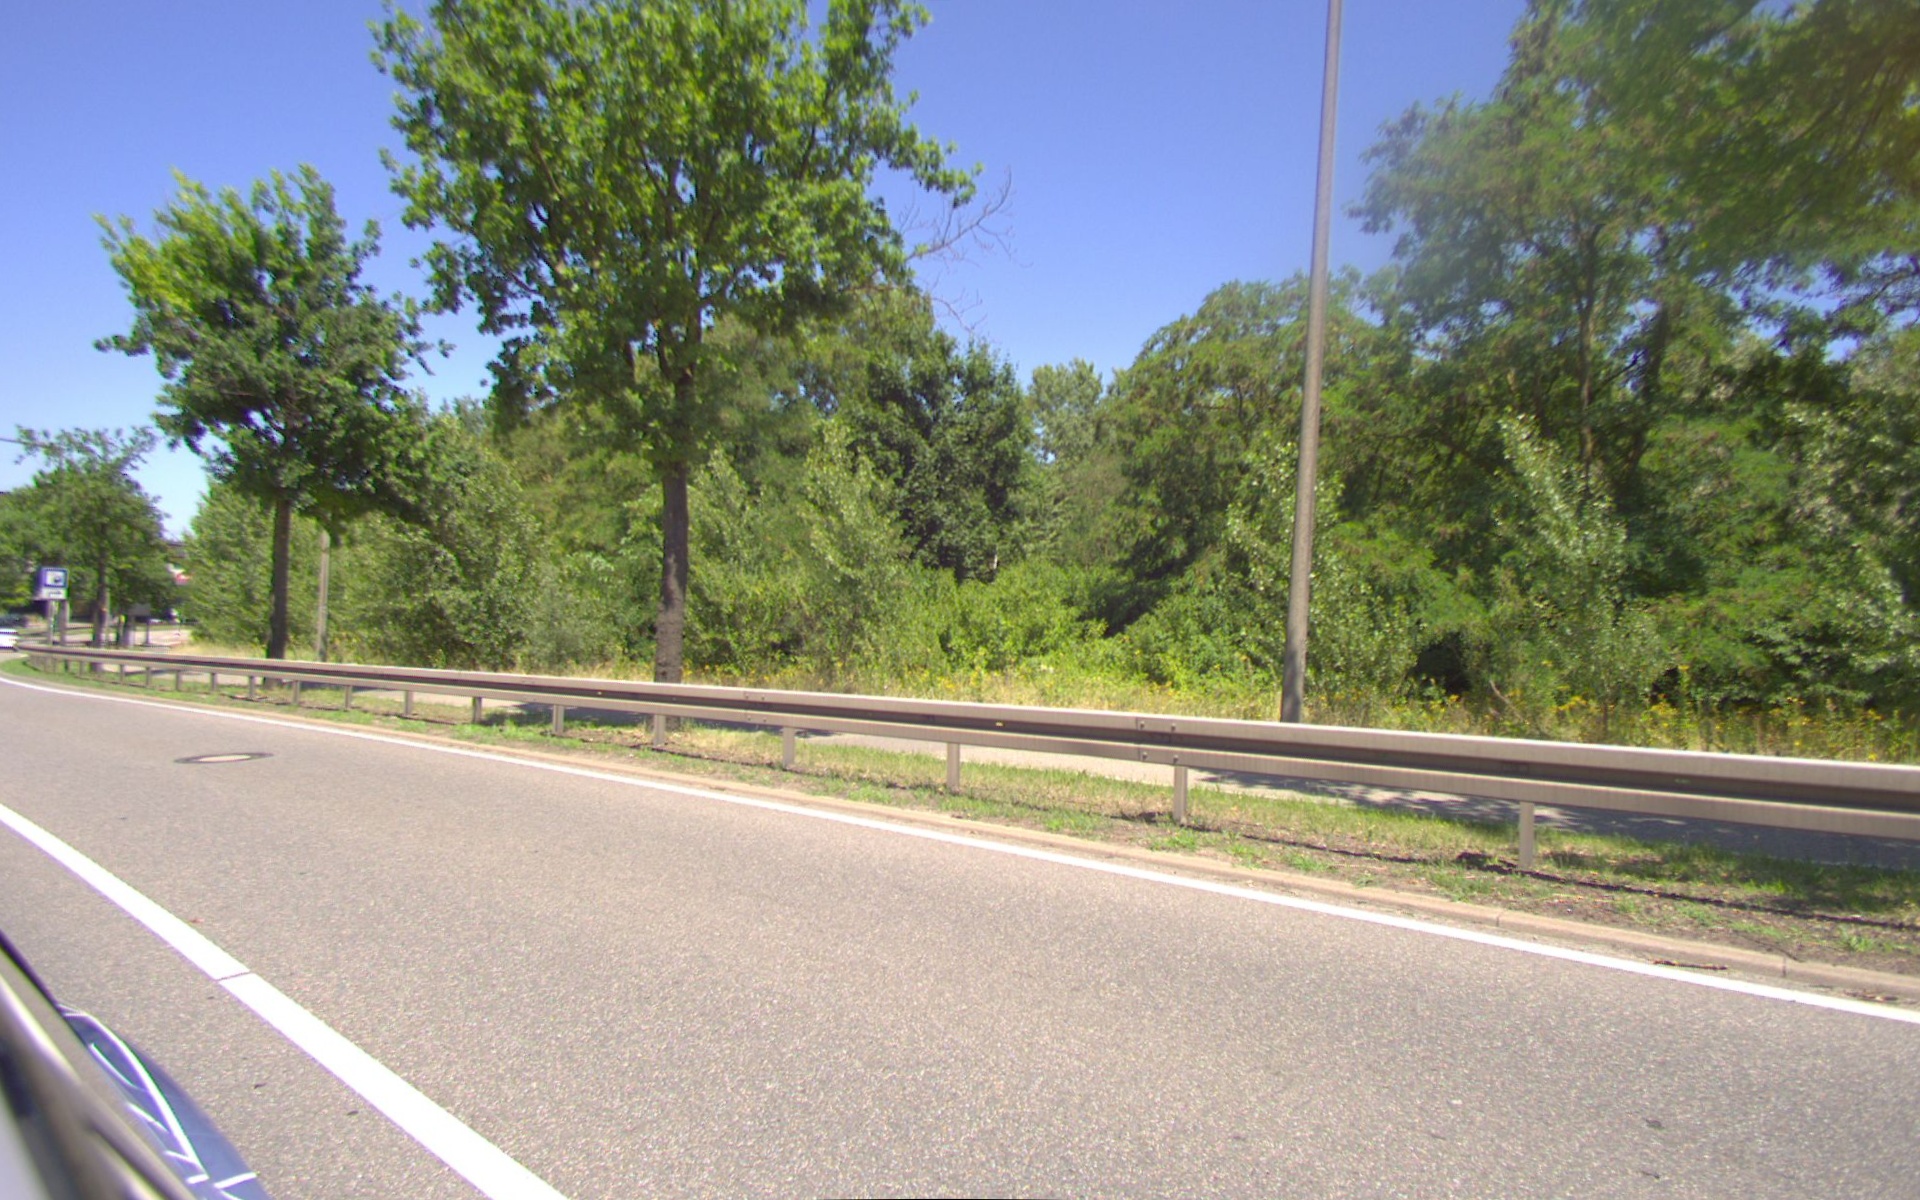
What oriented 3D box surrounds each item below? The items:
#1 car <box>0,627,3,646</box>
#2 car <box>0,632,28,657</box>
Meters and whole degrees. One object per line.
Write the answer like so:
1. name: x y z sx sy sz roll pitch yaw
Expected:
1. car: -107.656 4.102 112.050 1.751 2.029 4.011 -1 0 -33
2. car: -60.994 2.852 64.416 1.751 1.454 4.011 -1 0 -32
